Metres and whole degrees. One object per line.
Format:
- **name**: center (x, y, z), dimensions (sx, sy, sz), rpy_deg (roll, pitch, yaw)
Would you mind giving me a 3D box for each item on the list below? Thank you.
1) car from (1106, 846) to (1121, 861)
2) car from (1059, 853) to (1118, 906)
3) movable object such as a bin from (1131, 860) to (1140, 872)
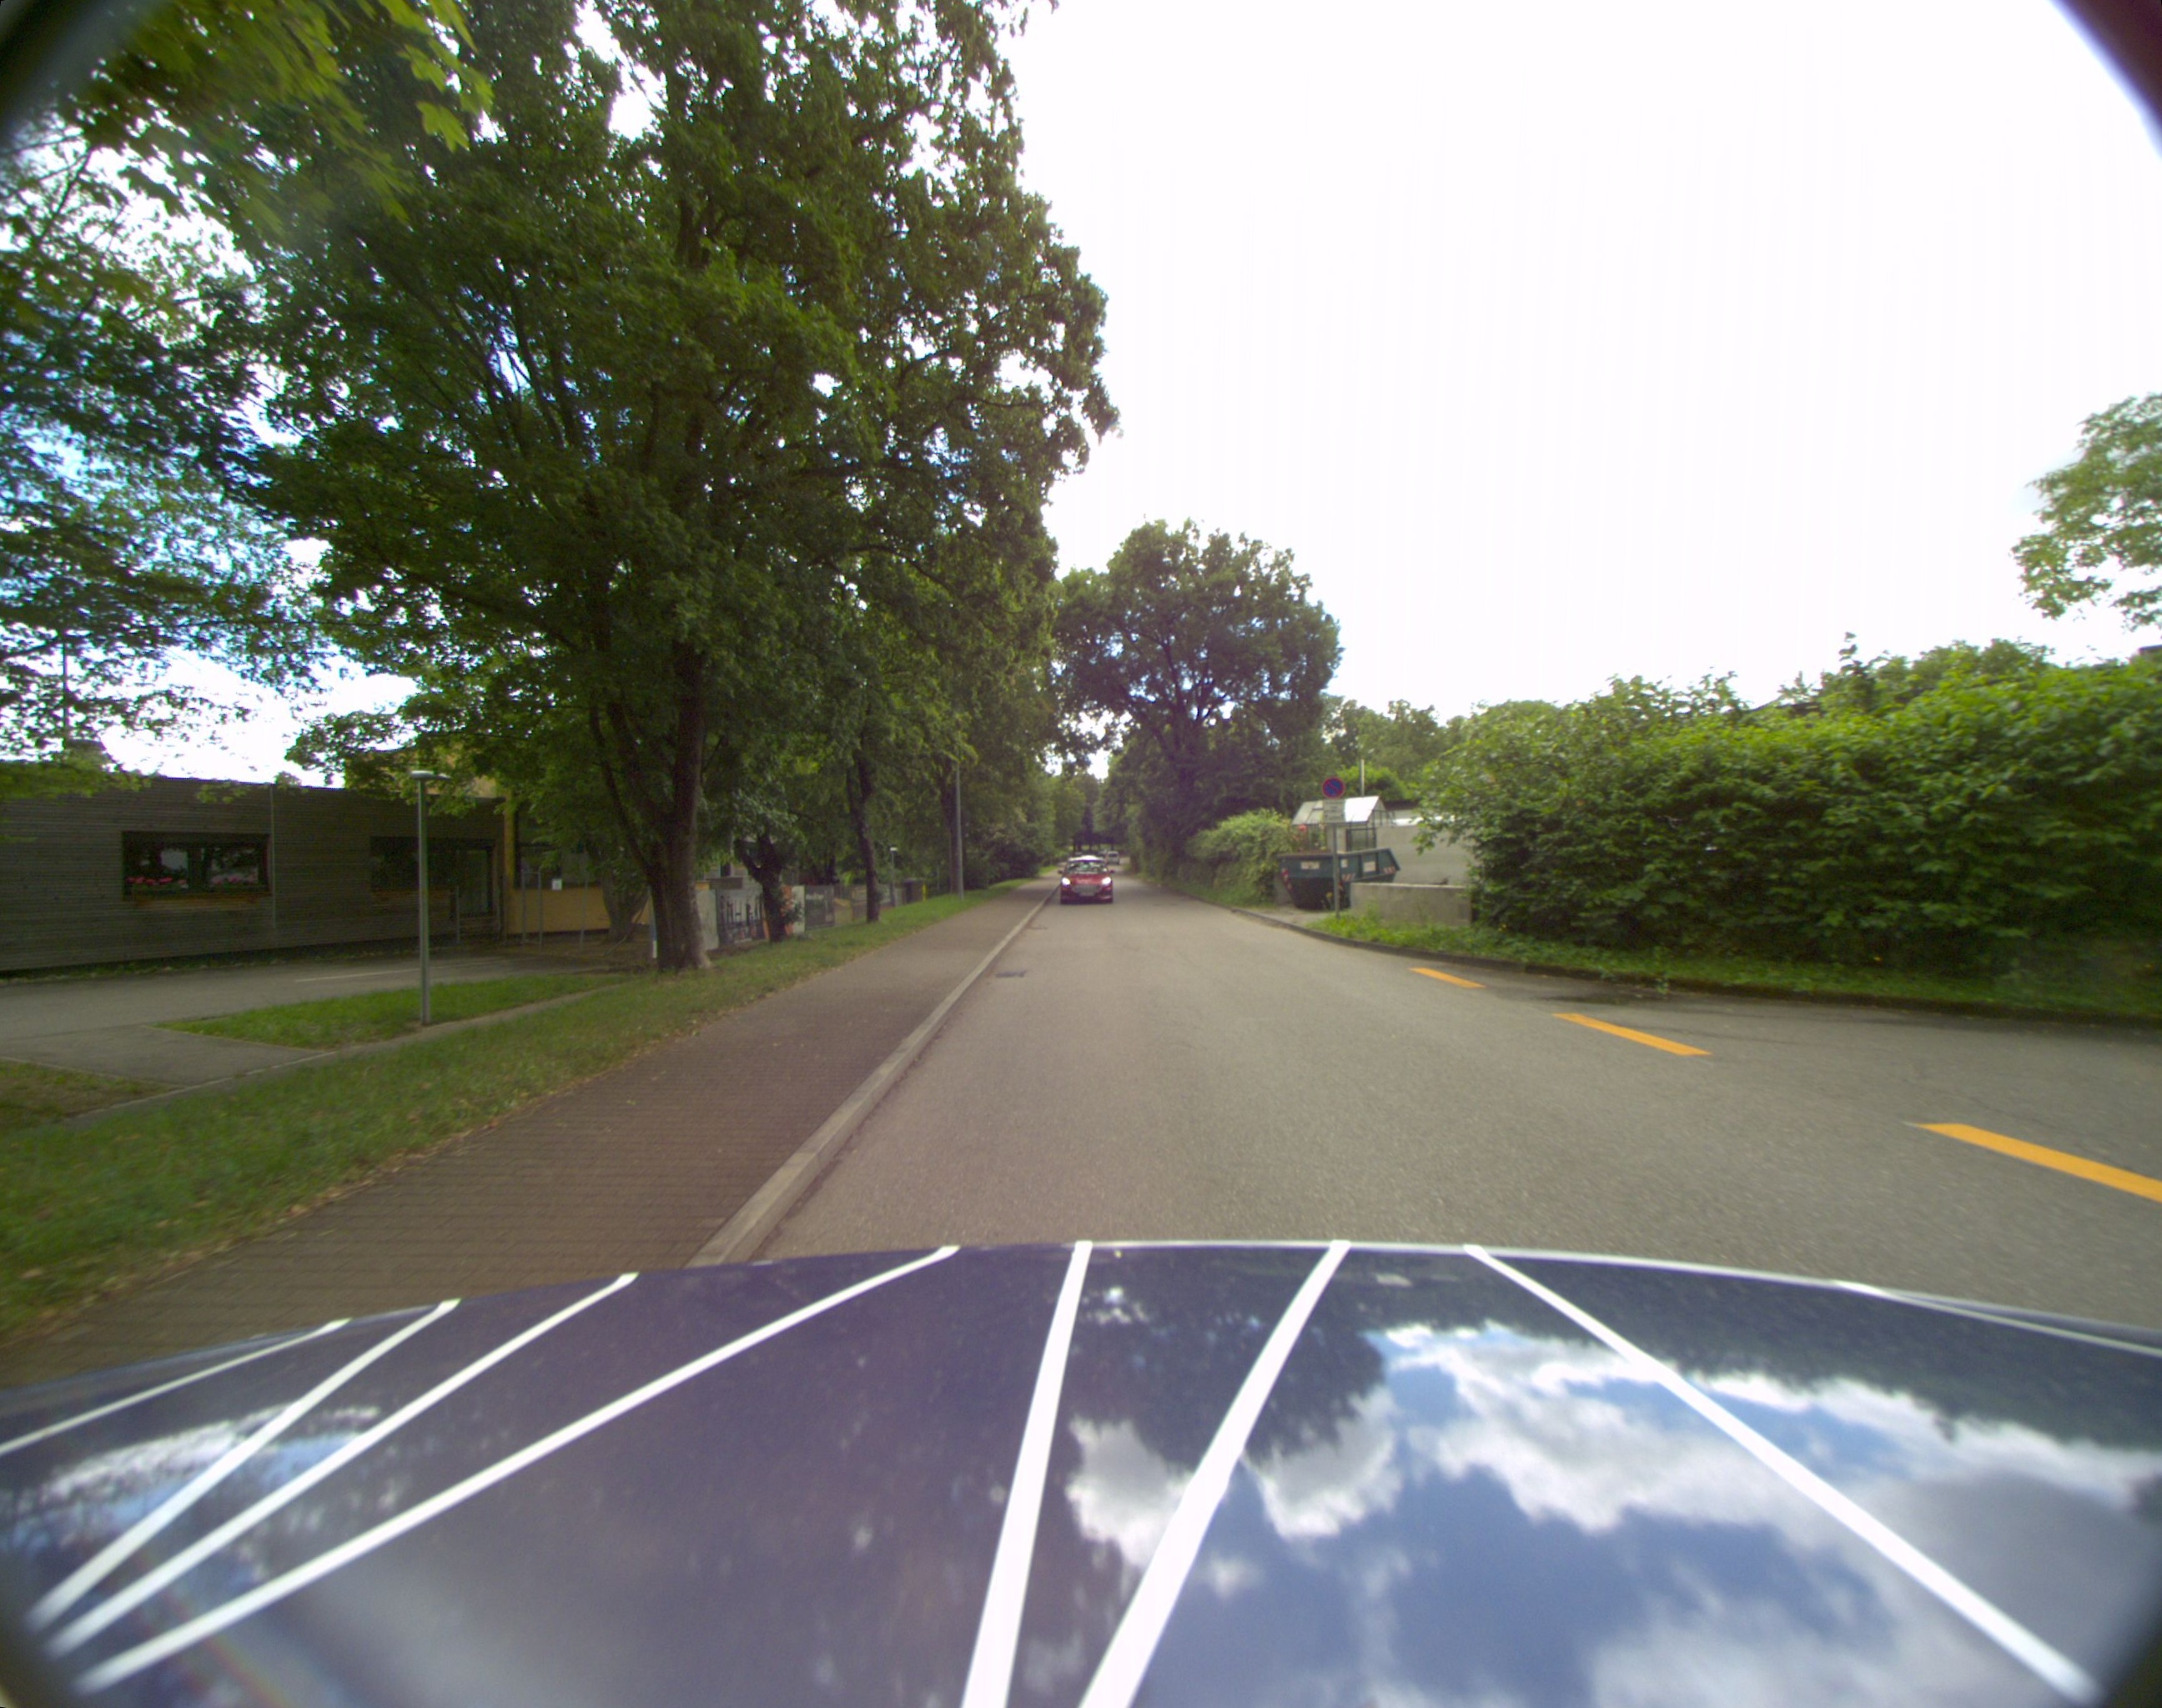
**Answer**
- **car**: center (4.357, -0.083, 102.062), dimensions (1.878, 1.902, 4.430), rpy_deg (0, 1, -1)
- **car**: center (0.343, 0.863, 28.193), dimensions (1.816, 1.717, 4.001), rpy_deg (1, 1, 5)
- **movable object such as a bin**: center (4.774, 1.042, 66.183), dimensions (0.649, 1.007, 0.632), rpy_deg (0, 2, 16)
